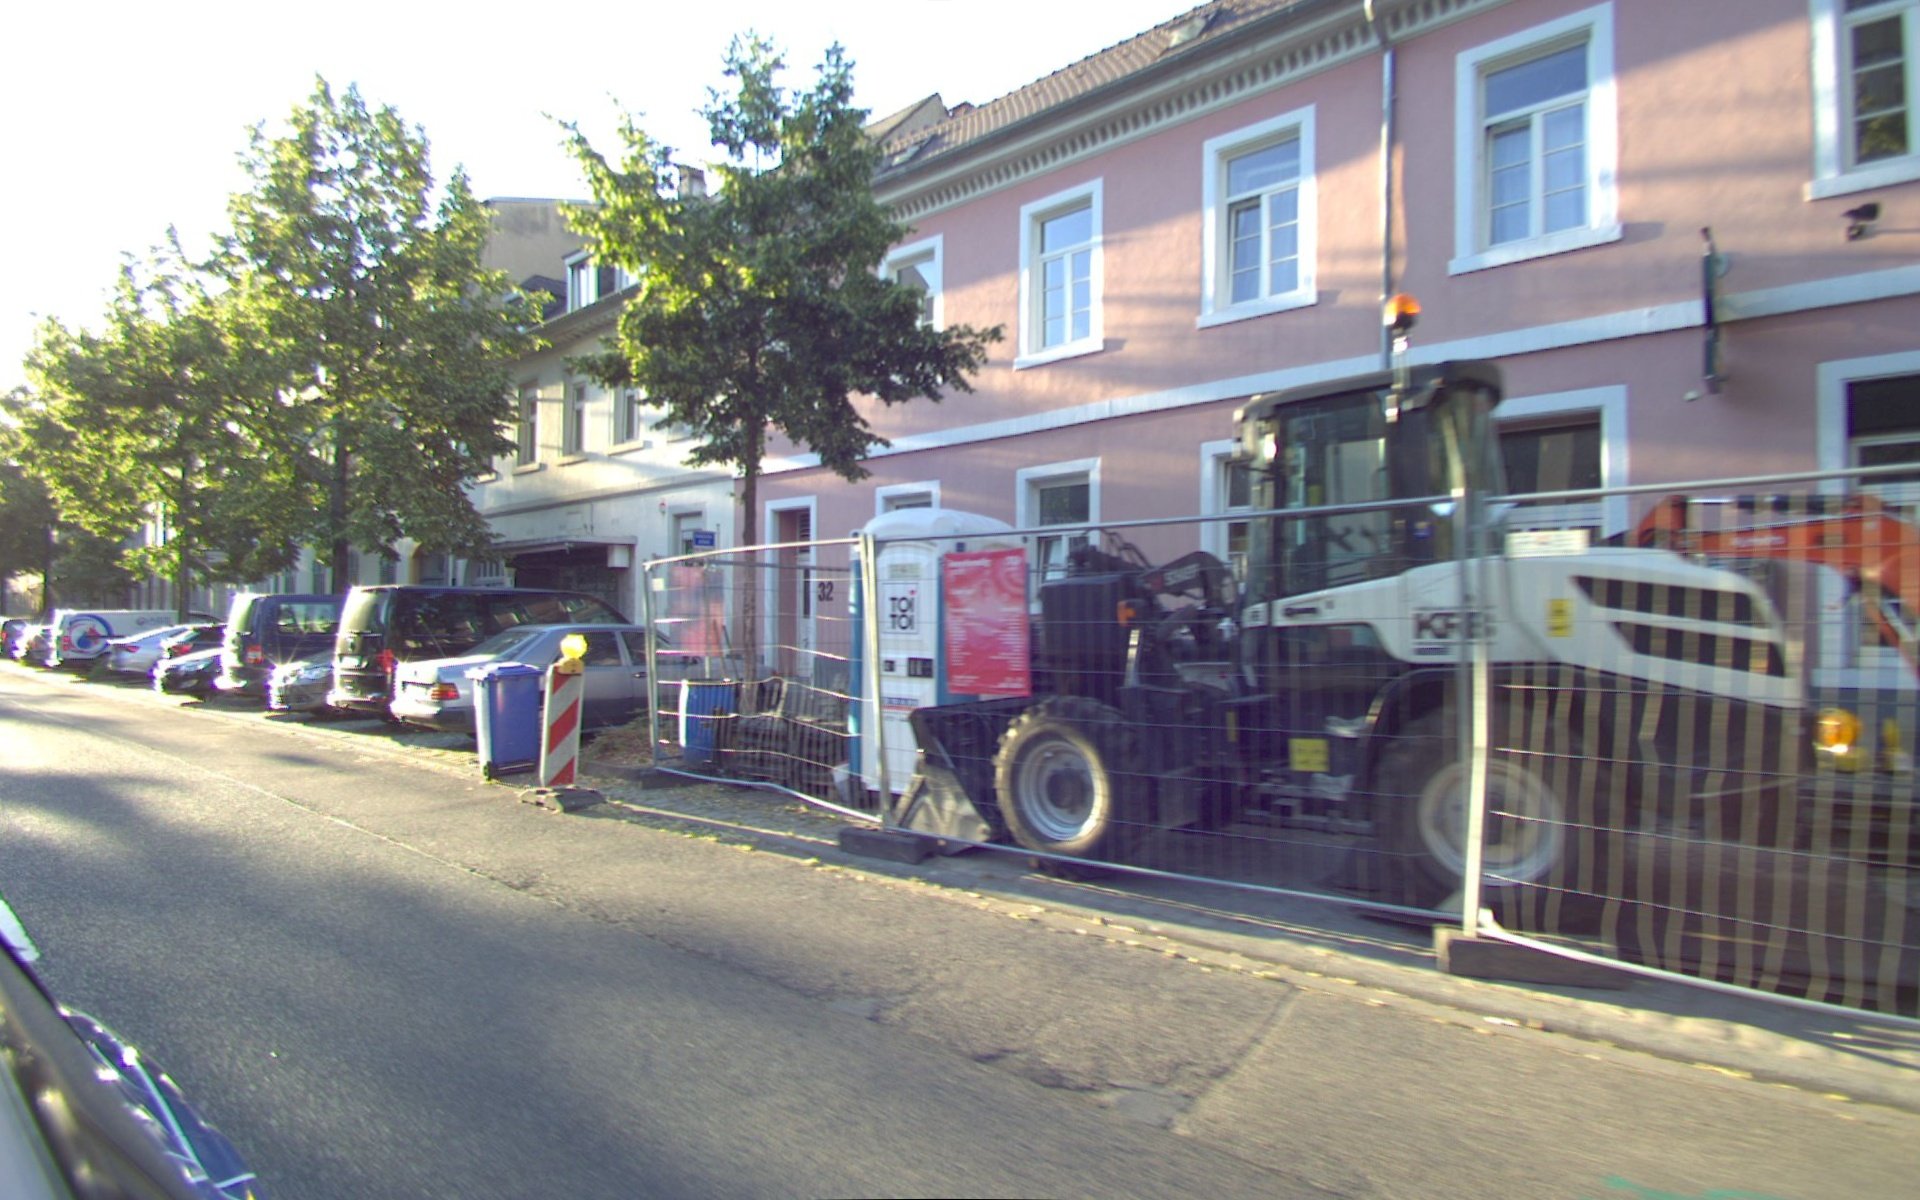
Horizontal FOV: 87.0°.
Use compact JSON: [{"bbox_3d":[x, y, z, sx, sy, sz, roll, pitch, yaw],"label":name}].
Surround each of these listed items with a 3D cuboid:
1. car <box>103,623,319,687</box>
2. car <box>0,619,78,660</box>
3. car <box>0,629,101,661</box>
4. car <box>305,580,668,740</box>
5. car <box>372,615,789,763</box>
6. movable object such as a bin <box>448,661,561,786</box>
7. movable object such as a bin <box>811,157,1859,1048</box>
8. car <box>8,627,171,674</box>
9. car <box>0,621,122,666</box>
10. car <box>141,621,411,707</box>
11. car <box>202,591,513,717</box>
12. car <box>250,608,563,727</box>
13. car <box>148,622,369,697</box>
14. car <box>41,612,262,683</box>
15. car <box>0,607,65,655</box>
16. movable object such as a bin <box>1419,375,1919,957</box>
[{"bbox_3d":[-19.940,1.405,27.092,1.734,1.496,4.429,-2,-2,43],"label":"car"},{"bbox_3d":[-46.465,1.949,49.771,1.919,1.968,4.451,-2,-2,43],"label":"car"},{"bbox_3d":[-43.945,2.136,48.493,1.593,1.450,4.107,-2,-2,42],"label":"car"},{"bbox_3d":[-6.774,0.765,14.897,1.963,1.991,4.439,-2,-1,39],"label":"car"},{"bbox_3d":[-4.562,0.963,12.699,1.893,1.481,4.543,-2,-2,44],"label":"car"},{"bbox_3d":[-4.390,1.154,9.753,0.883,1.113,0.682,-2,-3,43],"label":"movable object such as a bin"},{"bbox_3d":[1.822,0.061,6.133,5.300,2.991,2.597,-2,-2,41],"label":"movable object such as a bin"},{"bbox_3d":[-29.914,1.695,34.849,1.962,1.495,3.996,-2,-2,41],"label":"car"},{"bbox_3d":[-38.550,1.814,43.168,1.806,1.820,4.093,-2,-2,42],"label":"car"},{"bbox_3d":[-14.006,1.238,20.964,1.838,1.512,4.287,-2,-1,36],"label":"car"},{"bbox_3d":[-10.777,0.900,18.357,2.067,1.991,4.436,-2,-2,41],"label":"car"},{"bbox_3d":[-8.875,0.992,16.478,1.859,1.649,4.086,-2,-1,41],"label":"car"},{"bbox_3d":[-16.006,1.297,23.222,1.905,1.512,3.879,-2,-2,43],"label":"car"},{"bbox_3d":[-23.773,1.368,29.927,1.972,1.922,4.820,-2,-2,41],"label":"car"},{"bbox_3d":[-54.272,1.776,56.987,2.170,2.641,5.600,-2,-1,41],"label":"car"},{"bbox_3d":[5.178,0.306,5.453,2.278,2.514,5.762,0,-1,-6],"label":"movable object such as a bin"}]
